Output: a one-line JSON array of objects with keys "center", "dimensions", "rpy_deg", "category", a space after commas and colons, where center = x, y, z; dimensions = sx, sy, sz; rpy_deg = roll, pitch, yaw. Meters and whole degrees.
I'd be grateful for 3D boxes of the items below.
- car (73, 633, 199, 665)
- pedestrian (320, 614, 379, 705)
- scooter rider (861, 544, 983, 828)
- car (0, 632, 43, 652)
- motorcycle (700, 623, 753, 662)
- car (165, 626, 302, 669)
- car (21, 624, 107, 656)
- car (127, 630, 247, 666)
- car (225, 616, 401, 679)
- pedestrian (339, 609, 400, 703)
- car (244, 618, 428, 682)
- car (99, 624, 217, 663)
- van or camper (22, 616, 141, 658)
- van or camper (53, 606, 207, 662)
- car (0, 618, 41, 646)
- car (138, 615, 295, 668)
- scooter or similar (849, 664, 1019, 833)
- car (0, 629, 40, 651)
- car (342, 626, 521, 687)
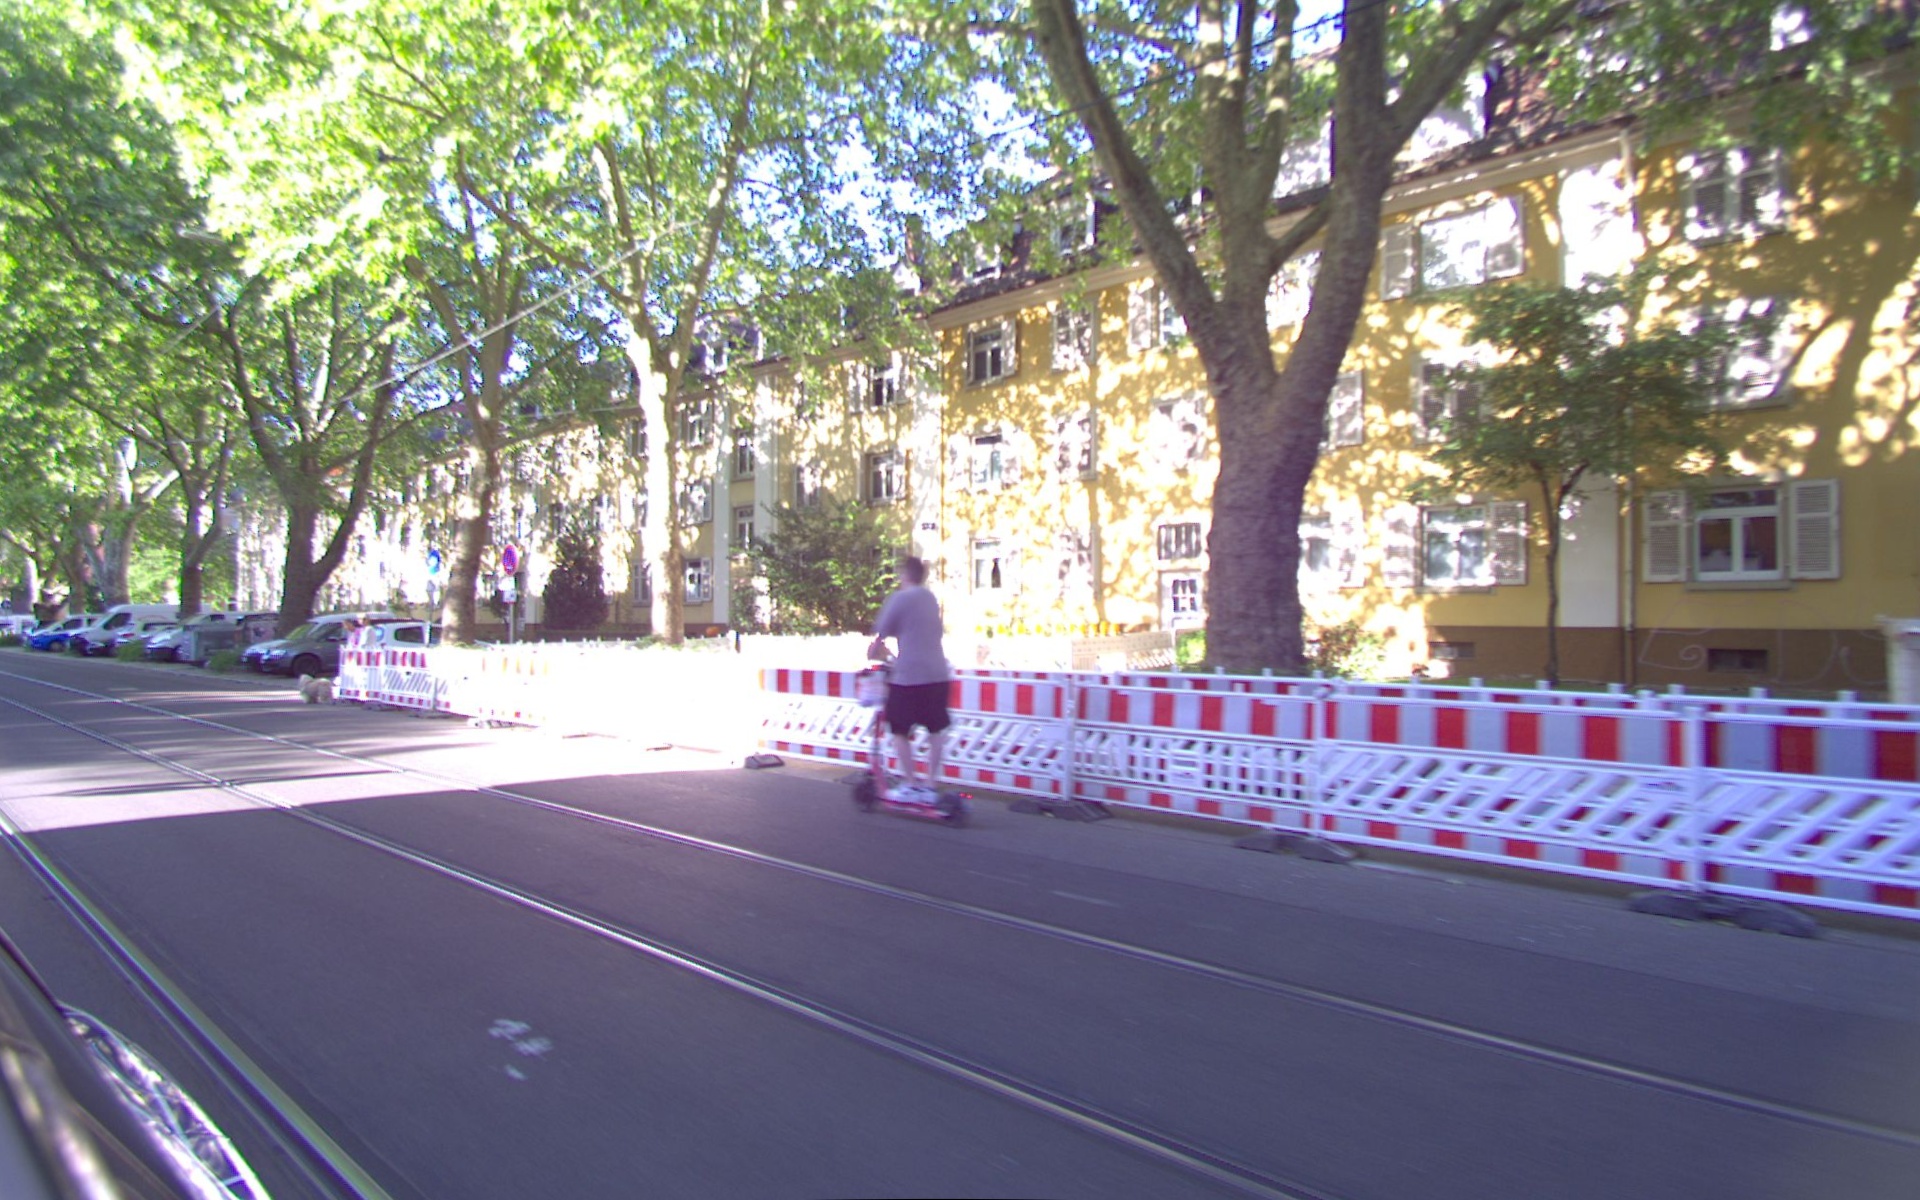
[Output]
[{"center": [-37.522, 2.214, 46.176], "dimensions": [1.752, 1.409, 4.219], "rpy_deg": [-2, -3, 41], "category": "car"}, {"center": [-12.205, 1.171, 20.237], "dimensions": [0.796, 1.758, 0.813], "rpy_deg": [-1, -1, 41], "category": "pedestrian"}, {"center": [-0.281, 0.603, 7.495], "dimensions": [0.624, 1.972, 0.642], "rpy_deg": [-1, -1, 41], "category": "scooter rider"}, {"center": [-76.607, 3.377, 81.338], "dimensions": [1.923, 1.527, 4.118], "rpy_deg": [-3, -2, 39], "category": "car"}, {"center": [-7.688, 1.383, 33.341], "dimensions": [0.523, 1.250, 1.691], "rpy_deg": [-2, -3, 42], "category": "motorcycle"}, {"center": [-27.025, 1.768, 37.741], "dimensions": [1.861, 1.509, 3.807], "rpy_deg": [-2, -3, 41], "category": "car"}, {"center": [-53.656, 2.351, 60.664], "dimensions": [1.703, 1.828, 3.644], "rpy_deg": [-2, -2, 40], "category": "car"}, {"center": [-33.569, 2.075, 44.014], "dimensions": [1.861, 1.509, 3.807], "rpy_deg": [-2, -3, 41], "category": "car"}, {"center": [-19.461, 1.370, 30.580], "dimensions": [1.738, 1.771, 4.157], "rpy_deg": [-2, -2, 39], "category": "car"}, {"center": [-11.460, 1.064, 19.659], "dimensions": [0.796, 1.758, 0.813], "rpy_deg": [-1, -1, 41], "category": "pedestrian"}, {"center": [-17.826, 1.415, 29.005], "dimensions": [4.183, 1.701, 1.935], "rpy_deg": [2, -3, -42], "category": "car"}, {"center": [-35.675, 1.936, 45.082], "dimensions": [1.861, 1.675, 3.807], "rpy_deg": [-2, -3, 41], "category": "car"}, {"center": [-48.893, 2.034, 56.405], "dimensions": [2.118, 2.207, 4.770], "rpy_deg": [-2, -2, 40], "category": "van or camper"}, {"center": [-39.350, 1.578, 48.100], "dimensions": [2.443, 2.535, 5.334], "rpy_deg": [-2, -2, 40], "category": "van or camper"}, {"center": [-82.742, 2.768, 87.234], "dimensions": [2.026, 2.416, 4.956], "rpy_deg": [-3, -3, 39], "category": "car"}, {"center": [-28.996, 1.579, 39.611], "dimensions": [1.959, 1.960, 4.613], "rpy_deg": [-2, -2, 38], "category": "car"}, {"center": [-0.217, 1.044, 7.454], "dimensions": [1.338, 1.091, 0.403], "rpy_deg": [-1, -1, 42], "category": "scooter or similar"}, {"center": [-78.665, 3.330, 83.036], "dimensions": [2.026, 1.779, 4.408], "rpy_deg": [-3, -2, 39], "category": "car"}, {"center": [-14.059, 1.487, 27.060], "dimensions": [1.861, 1.509, 3.807], "rpy_deg": [-2, -3, 41], "category": "car"}]
